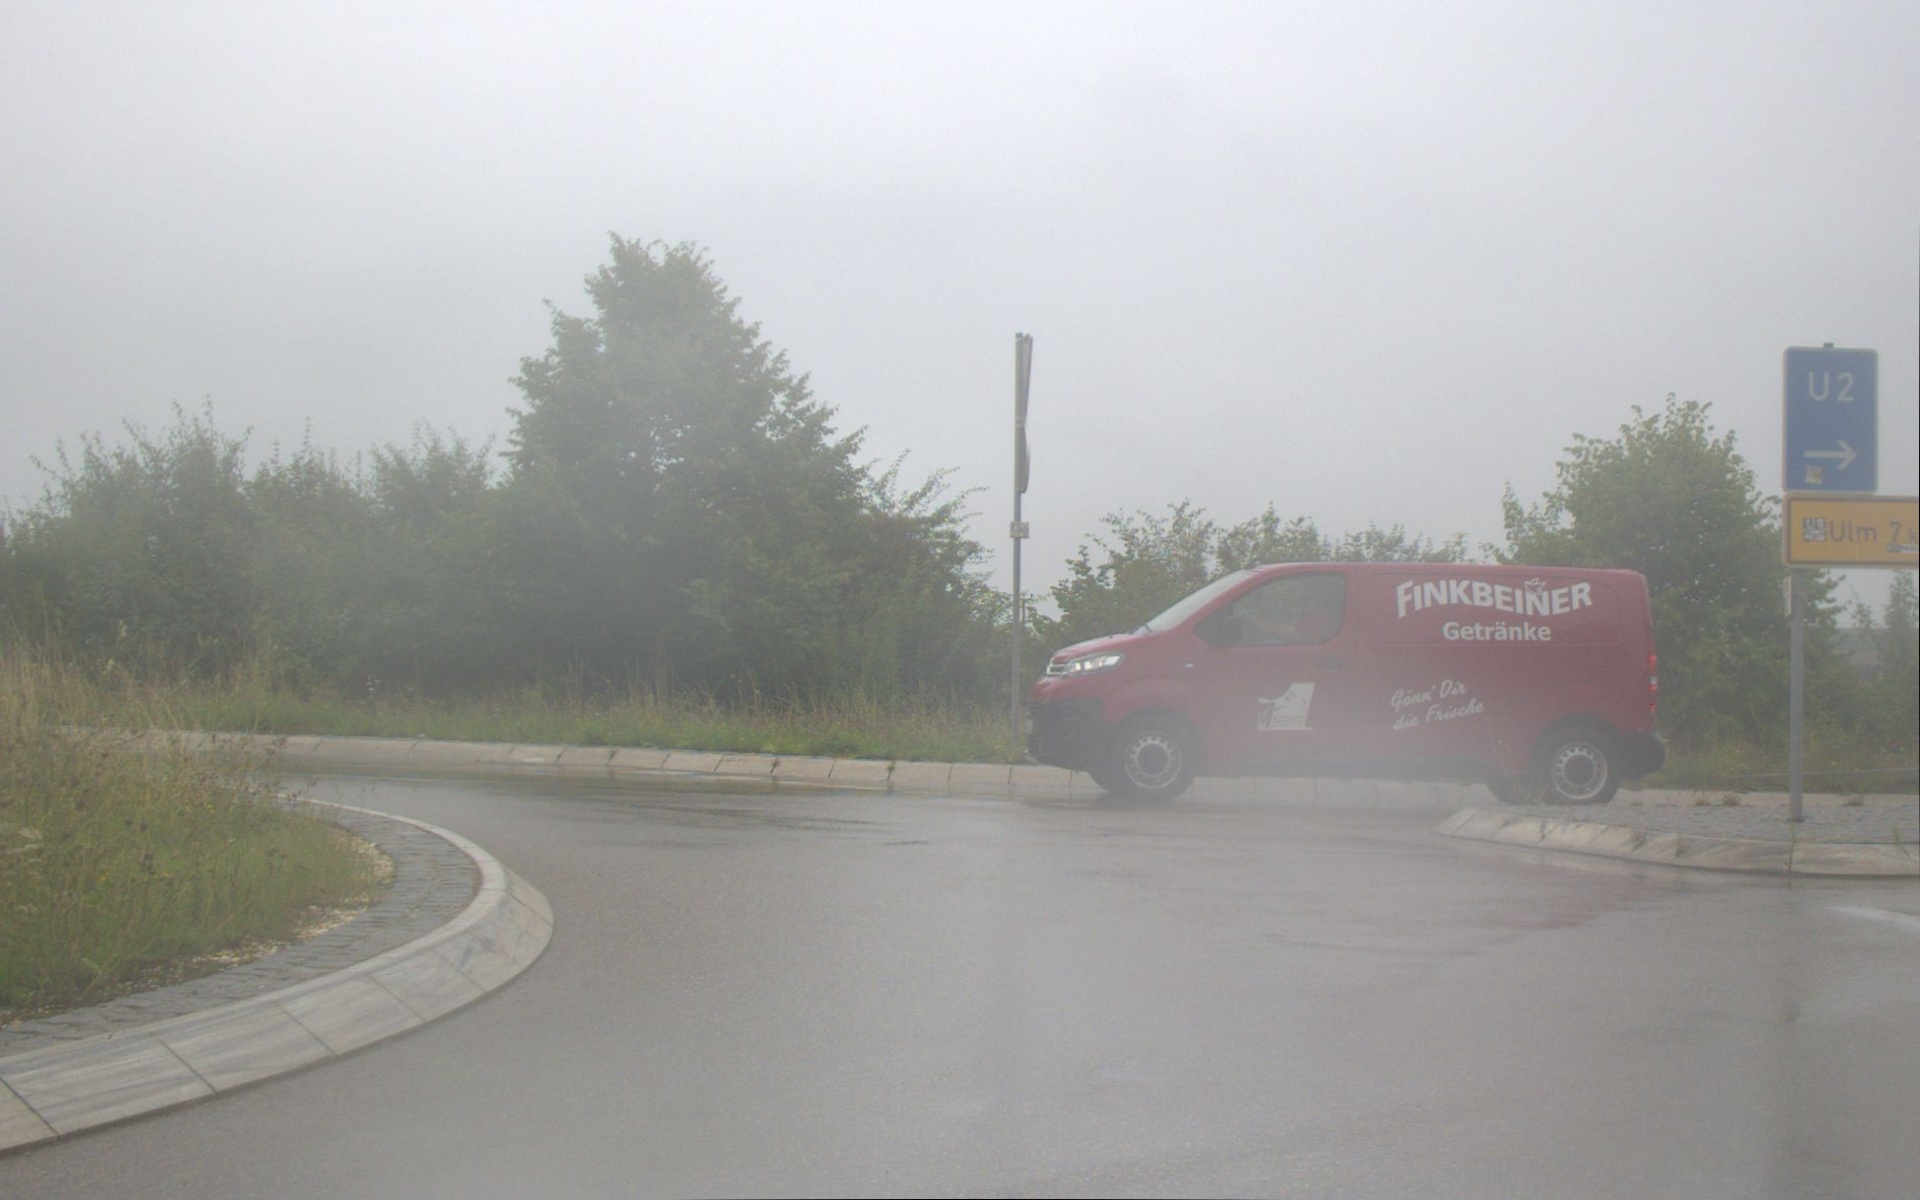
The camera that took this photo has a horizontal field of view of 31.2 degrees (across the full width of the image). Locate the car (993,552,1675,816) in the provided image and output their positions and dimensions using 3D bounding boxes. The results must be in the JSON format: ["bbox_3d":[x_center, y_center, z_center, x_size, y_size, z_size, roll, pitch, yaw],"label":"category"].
[{"bbox_3d":[2.876,0.647,27.053,4.961,1.864,2.000,2,0,-7],"label":"car"}]

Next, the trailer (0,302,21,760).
[{"bbox_3d":[-12.848,-0.657,27.763,9.683,3.806,2.841,1,-1,2],"label":"trailer"}]
